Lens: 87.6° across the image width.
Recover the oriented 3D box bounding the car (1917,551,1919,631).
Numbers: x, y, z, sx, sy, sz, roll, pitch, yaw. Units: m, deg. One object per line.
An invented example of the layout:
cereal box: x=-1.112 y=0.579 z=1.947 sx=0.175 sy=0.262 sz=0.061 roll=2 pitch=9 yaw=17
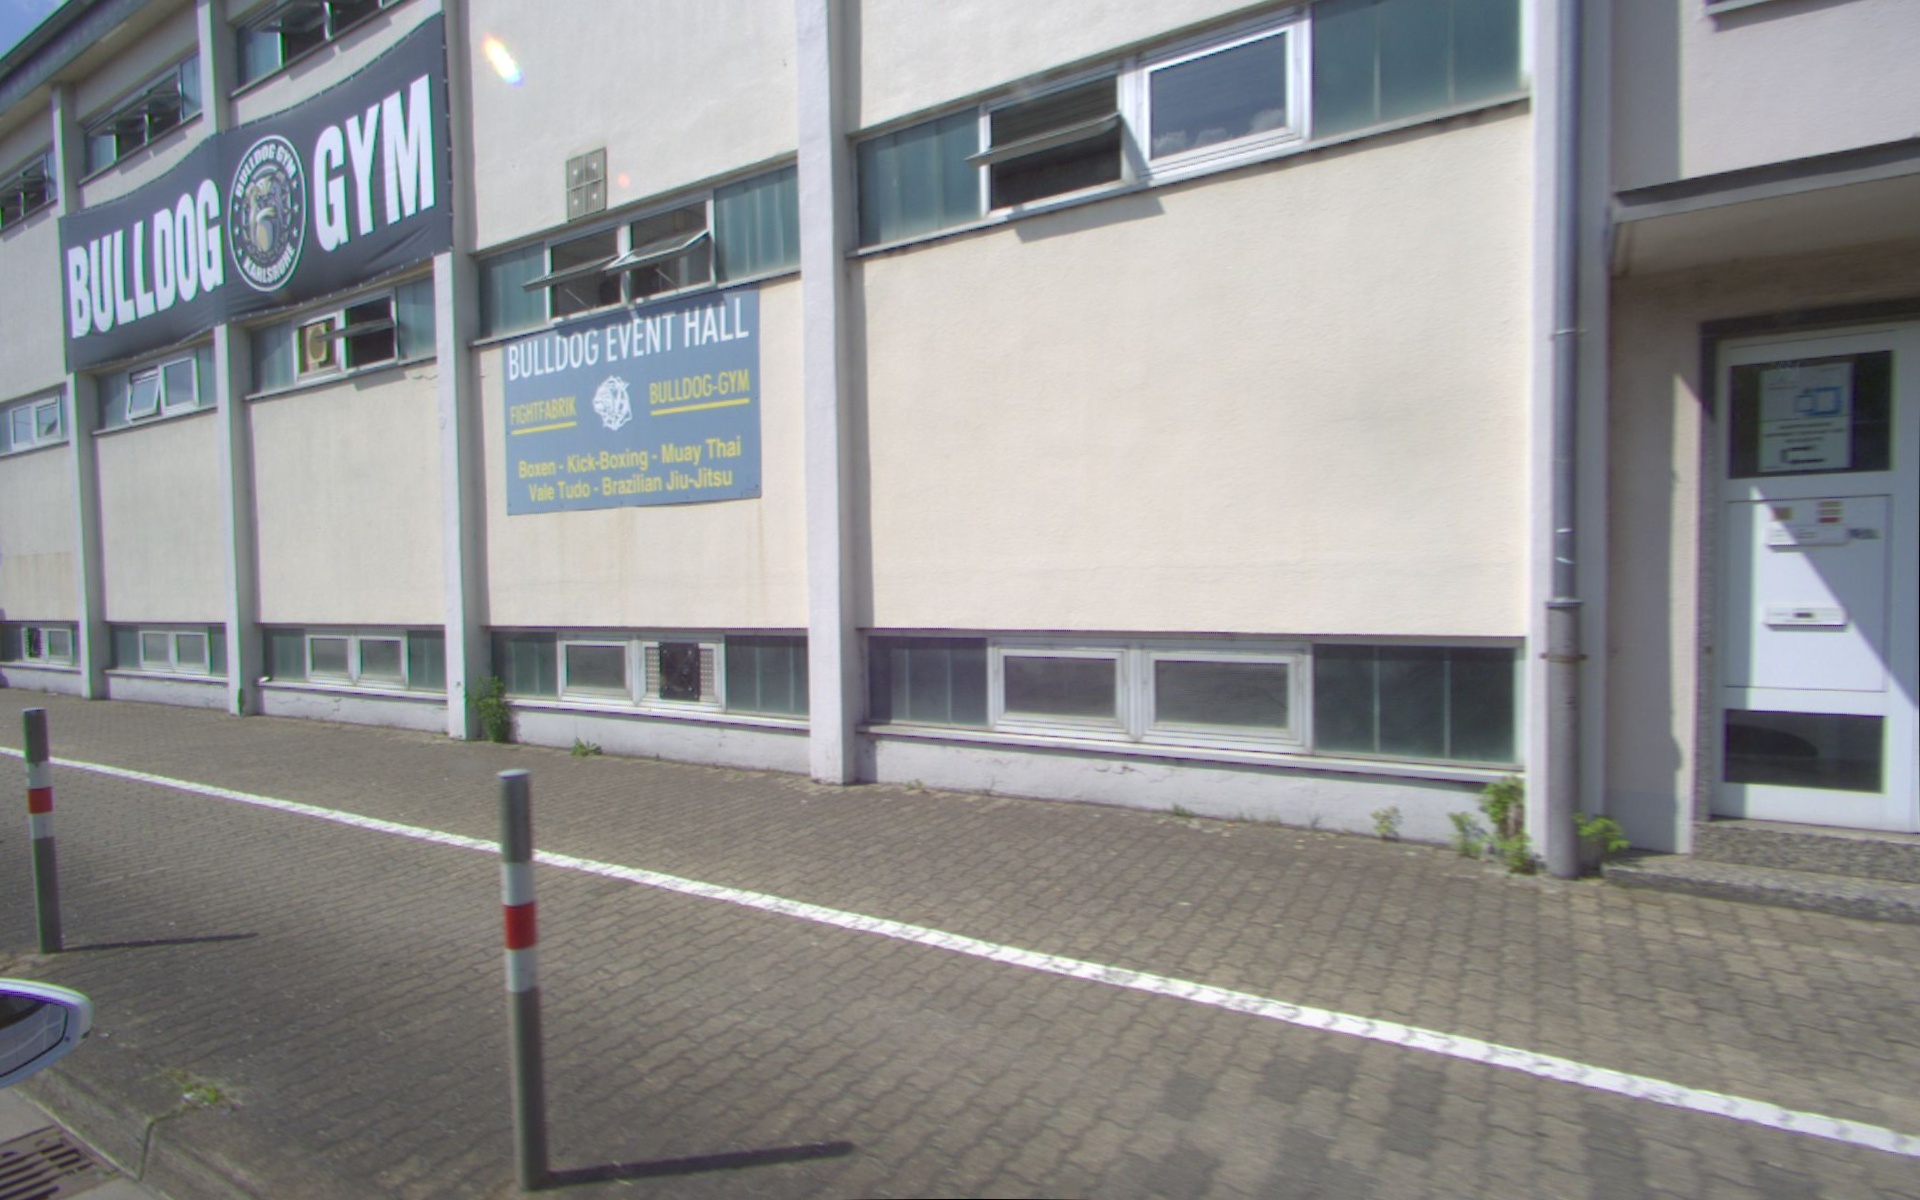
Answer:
car: x=19.943 y=-0.173 z=17.869 sx=3.885 sy=1.564 sz=1.509 roll=-1 pitch=2 yaw=32

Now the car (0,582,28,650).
car: x=-26.170 y=0.454 z=24.426 sx=1.872 sy=1.736 sz=4.711 roll=1 pitch=2 yaw=15
